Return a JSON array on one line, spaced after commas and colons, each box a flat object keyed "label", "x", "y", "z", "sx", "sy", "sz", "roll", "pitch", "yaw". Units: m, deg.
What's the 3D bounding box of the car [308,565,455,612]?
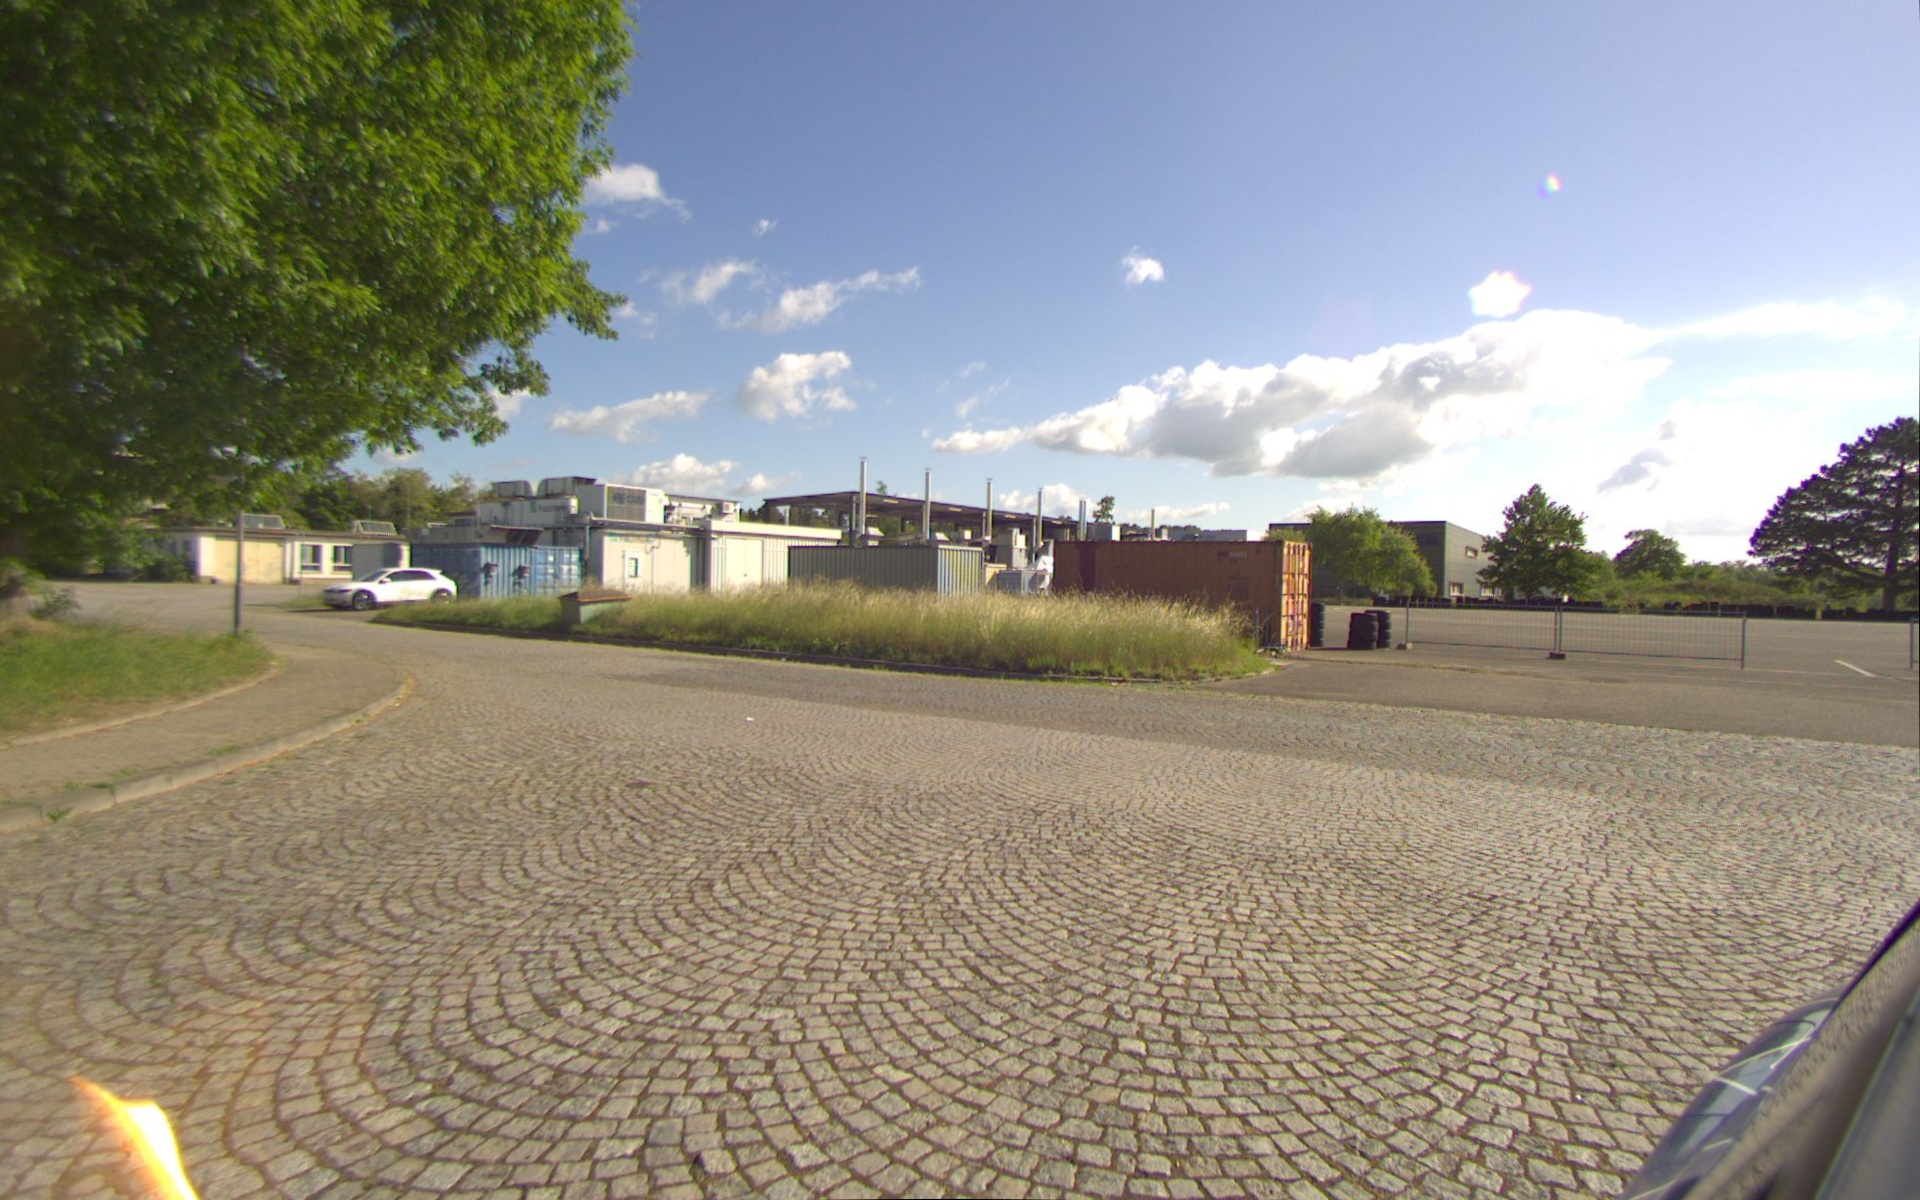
[{"label": "car", "x": -22.069, "y": -0.443, "z": 38.777, "sx": 1.862, "sy": 1.698, "sz": 4.546, "roll": 2, "pitch": 1, "yaw": 34}]
